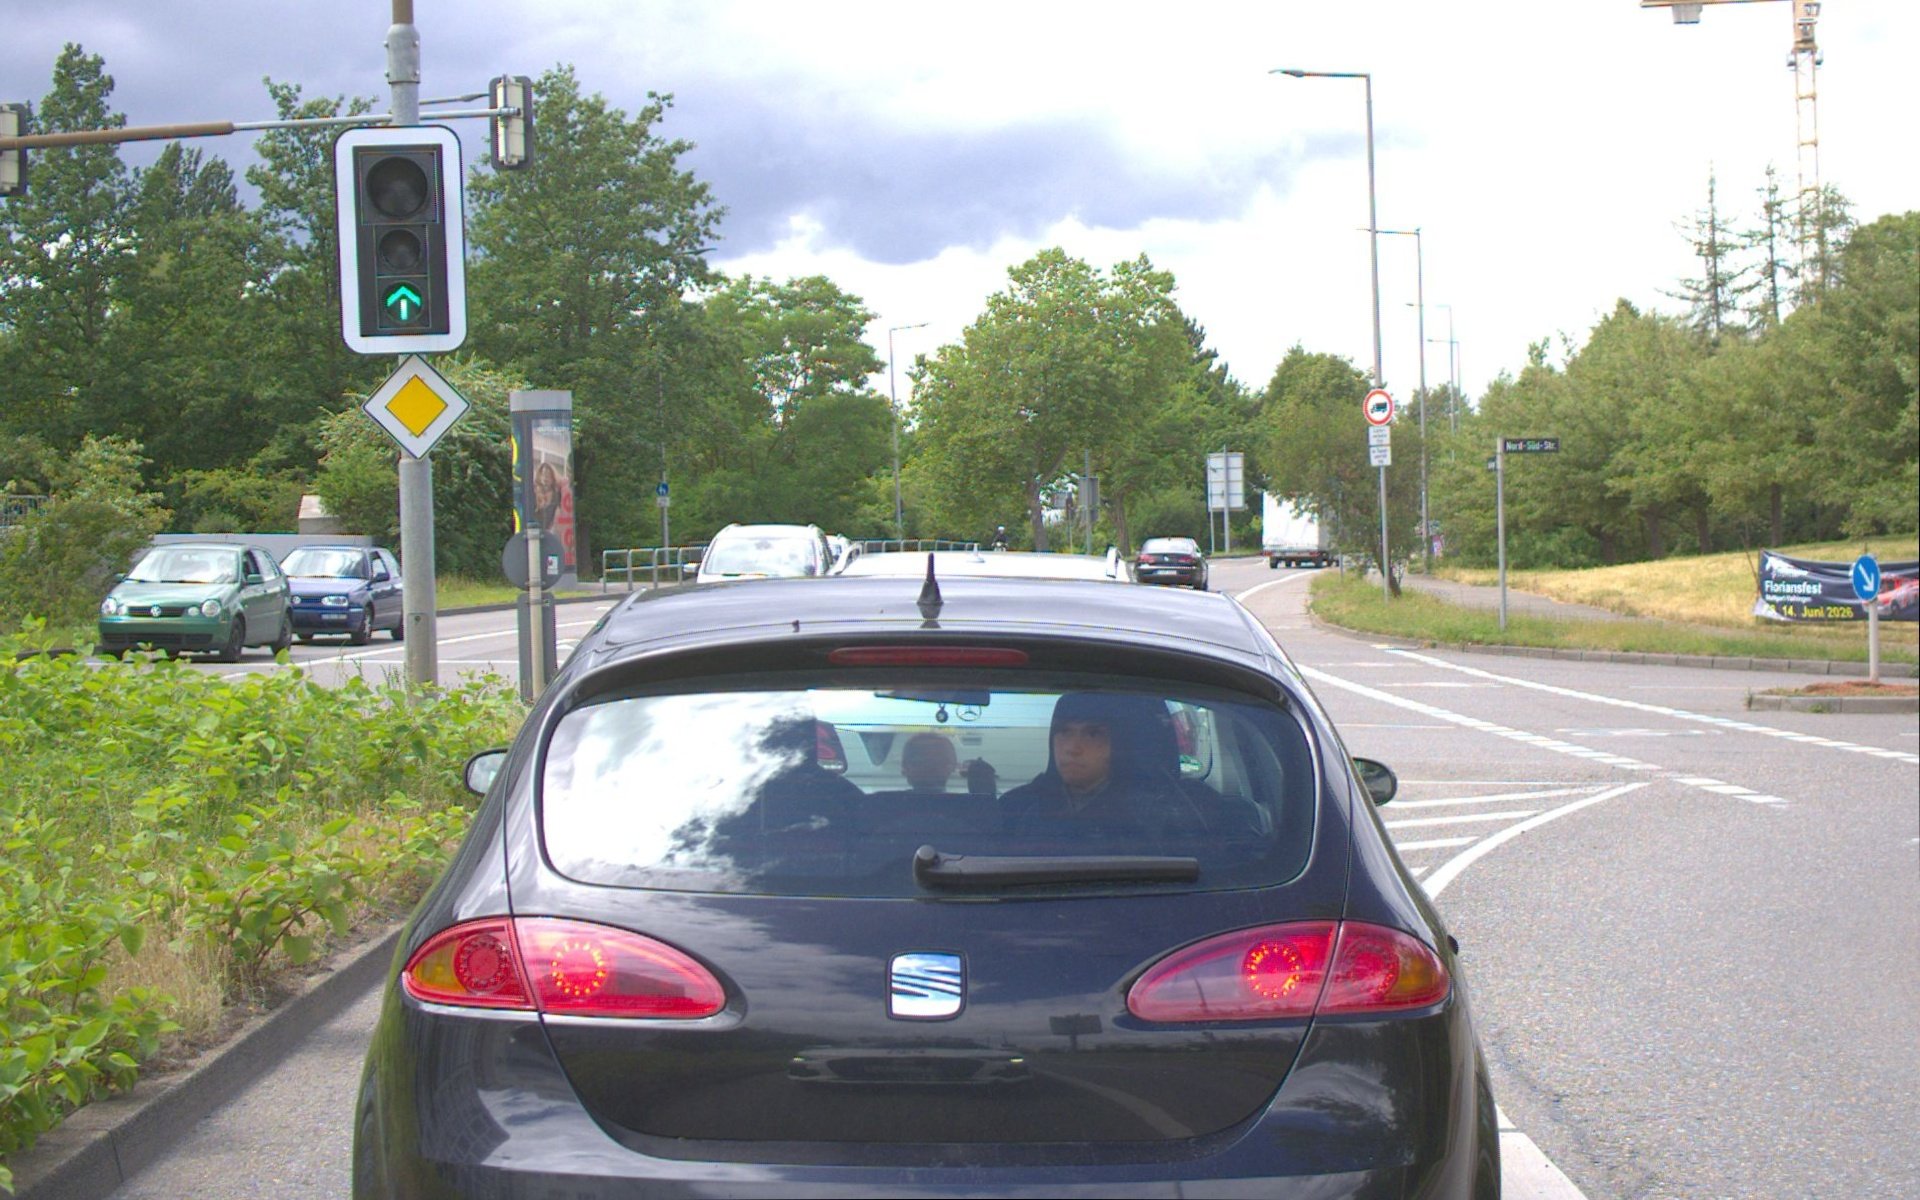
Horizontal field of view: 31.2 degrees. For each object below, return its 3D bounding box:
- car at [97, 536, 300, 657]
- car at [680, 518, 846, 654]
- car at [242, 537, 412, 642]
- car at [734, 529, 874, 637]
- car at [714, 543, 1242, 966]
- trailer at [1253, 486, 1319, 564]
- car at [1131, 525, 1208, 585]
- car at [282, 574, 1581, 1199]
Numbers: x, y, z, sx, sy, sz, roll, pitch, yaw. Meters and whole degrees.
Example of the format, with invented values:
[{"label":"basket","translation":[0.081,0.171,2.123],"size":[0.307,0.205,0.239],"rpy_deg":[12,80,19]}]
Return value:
[{"label":"car","translation":[-9.410,-0.078,42.728],"size":[1.605,1.427,3.752],"rpy_deg":[0,1,2]},{"label":"car","translation":[-2.547,-0.234,45.483],"size":[1.820,1.681,4.645],"rpy_deg":[1,1,1]},{"label":"car","translation":[-9.056,-0.185,49.438],"size":[1.554,1.414,3.895],"rpy_deg":[0,1,3]},{"label":"car","translation":[-2.300,-0.284,51.526],"size":[1.660,1.513,4.084],"rpy_deg":[1,1,3]},{"label":"car","translation":[0.083,0.525,13.964],"size":[1.834,1.462,3.751],"rpy_deg":[1,1,1]},{"label":"trailer","translation":[13.171,-2.996,138.675],"size":[2.492,3.063,5.585],"rpy_deg":[1,1,6]},{"label":"car","translation":[5.583,-1.227,91.767],"size":[1.994,1.560,4.470],"rpy_deg":[0,1,3]},{"label":"car","translation":[-0.055,0.690,6.279],"size":[1.711,1.412,3.459],"rpy_deg":[1,1,0]}]
